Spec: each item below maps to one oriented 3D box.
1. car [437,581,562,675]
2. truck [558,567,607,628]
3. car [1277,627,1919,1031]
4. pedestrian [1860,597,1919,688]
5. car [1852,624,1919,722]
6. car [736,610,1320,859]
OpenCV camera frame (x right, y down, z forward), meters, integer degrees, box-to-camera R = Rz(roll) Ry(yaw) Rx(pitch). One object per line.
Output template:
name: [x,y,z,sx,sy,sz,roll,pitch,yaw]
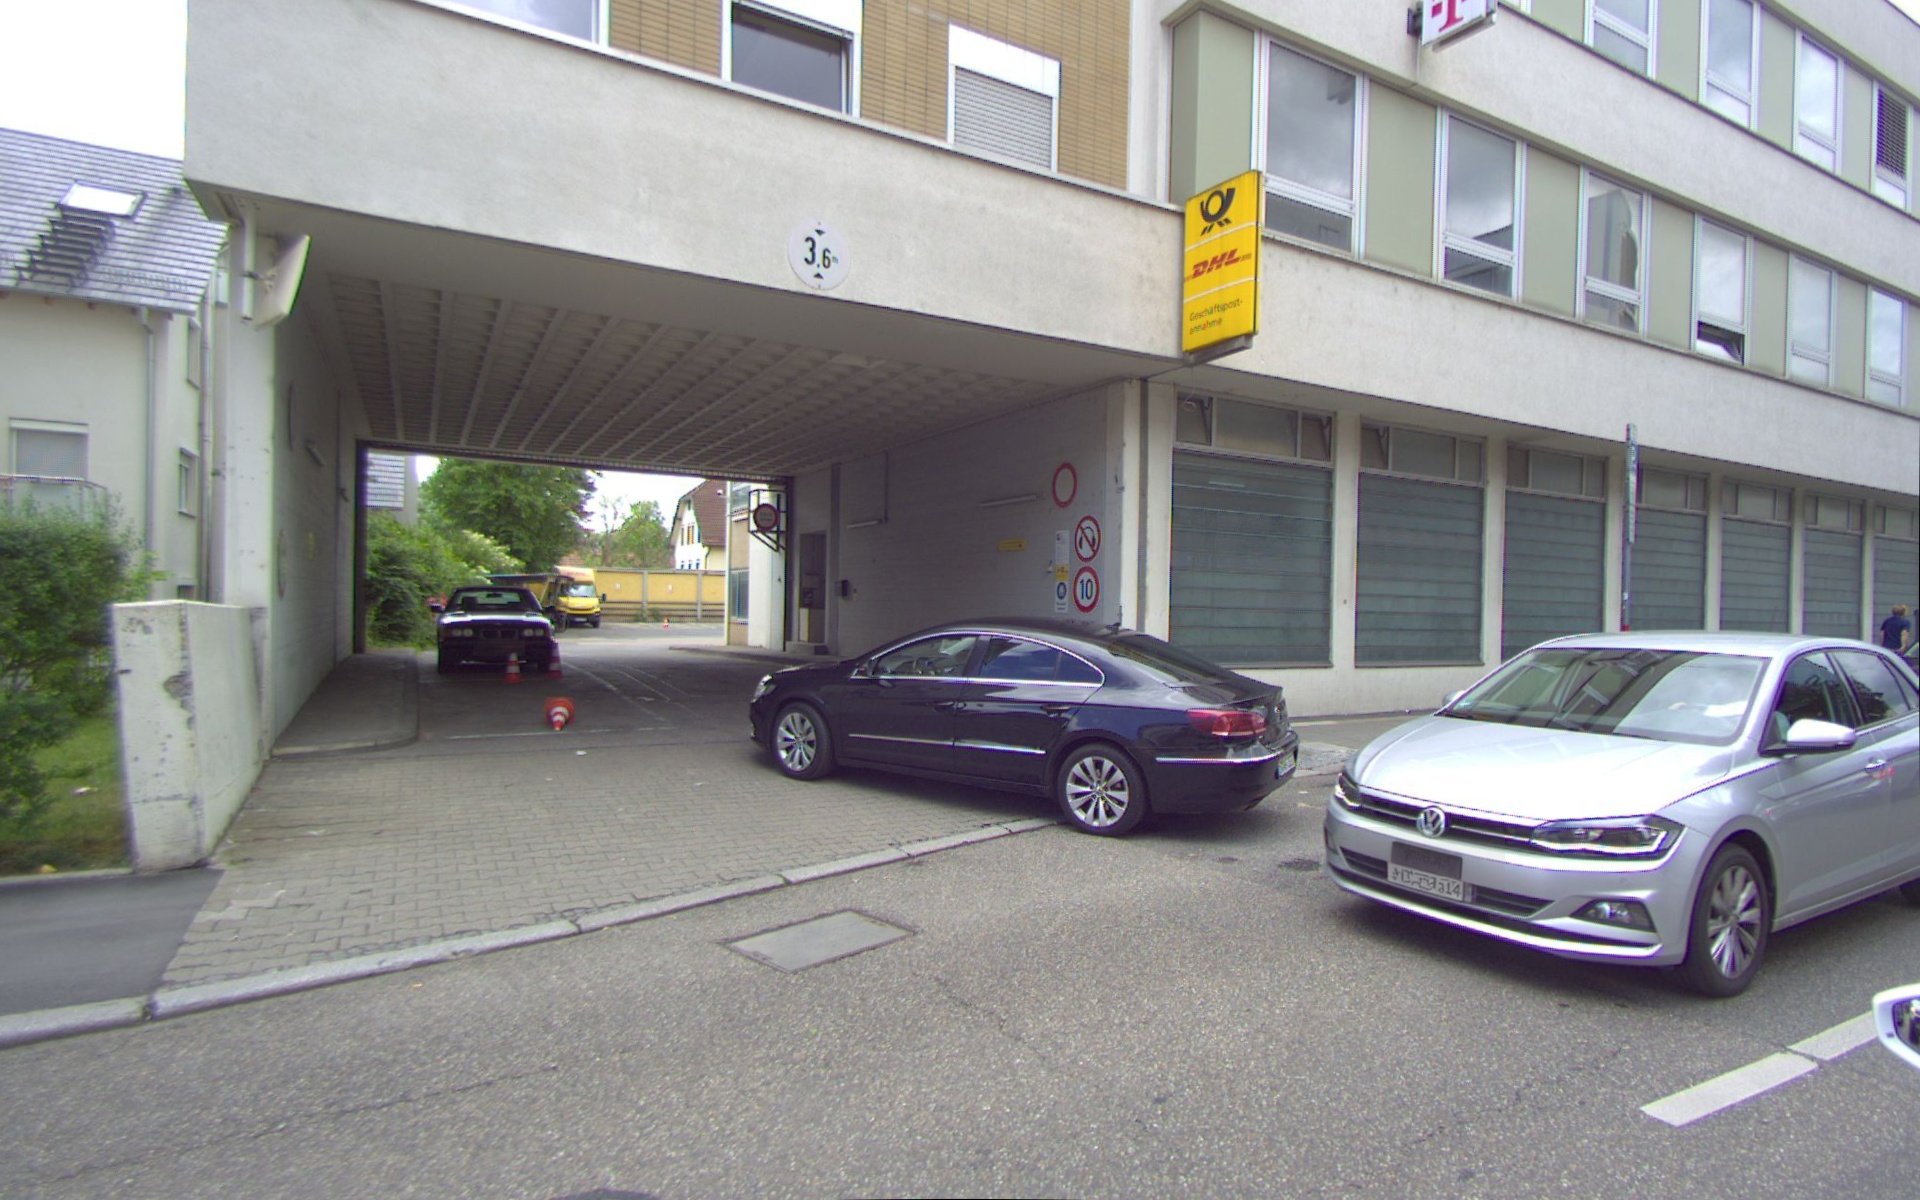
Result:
car: [-7.717,0.383,16.608,1.604,1.341,4.420,1,0,-28]
truck: [-18.884,-0.202,50.065,1.972,2.789,7.254,1,1,-23]
car: [3.766,0.867,5.396,3.954,1.436,1.790,1,-2,-31]
pedestrian: [18.260,0.815,19.719,1.043,1.741,0.586,1,0,-31]
car: [15.930,1.108,15.868,3.826,1.444,1.708,1,-1,-31]
car: [0.420,0.848,8.015,4.375,1.417,1.654,1,0,31]
